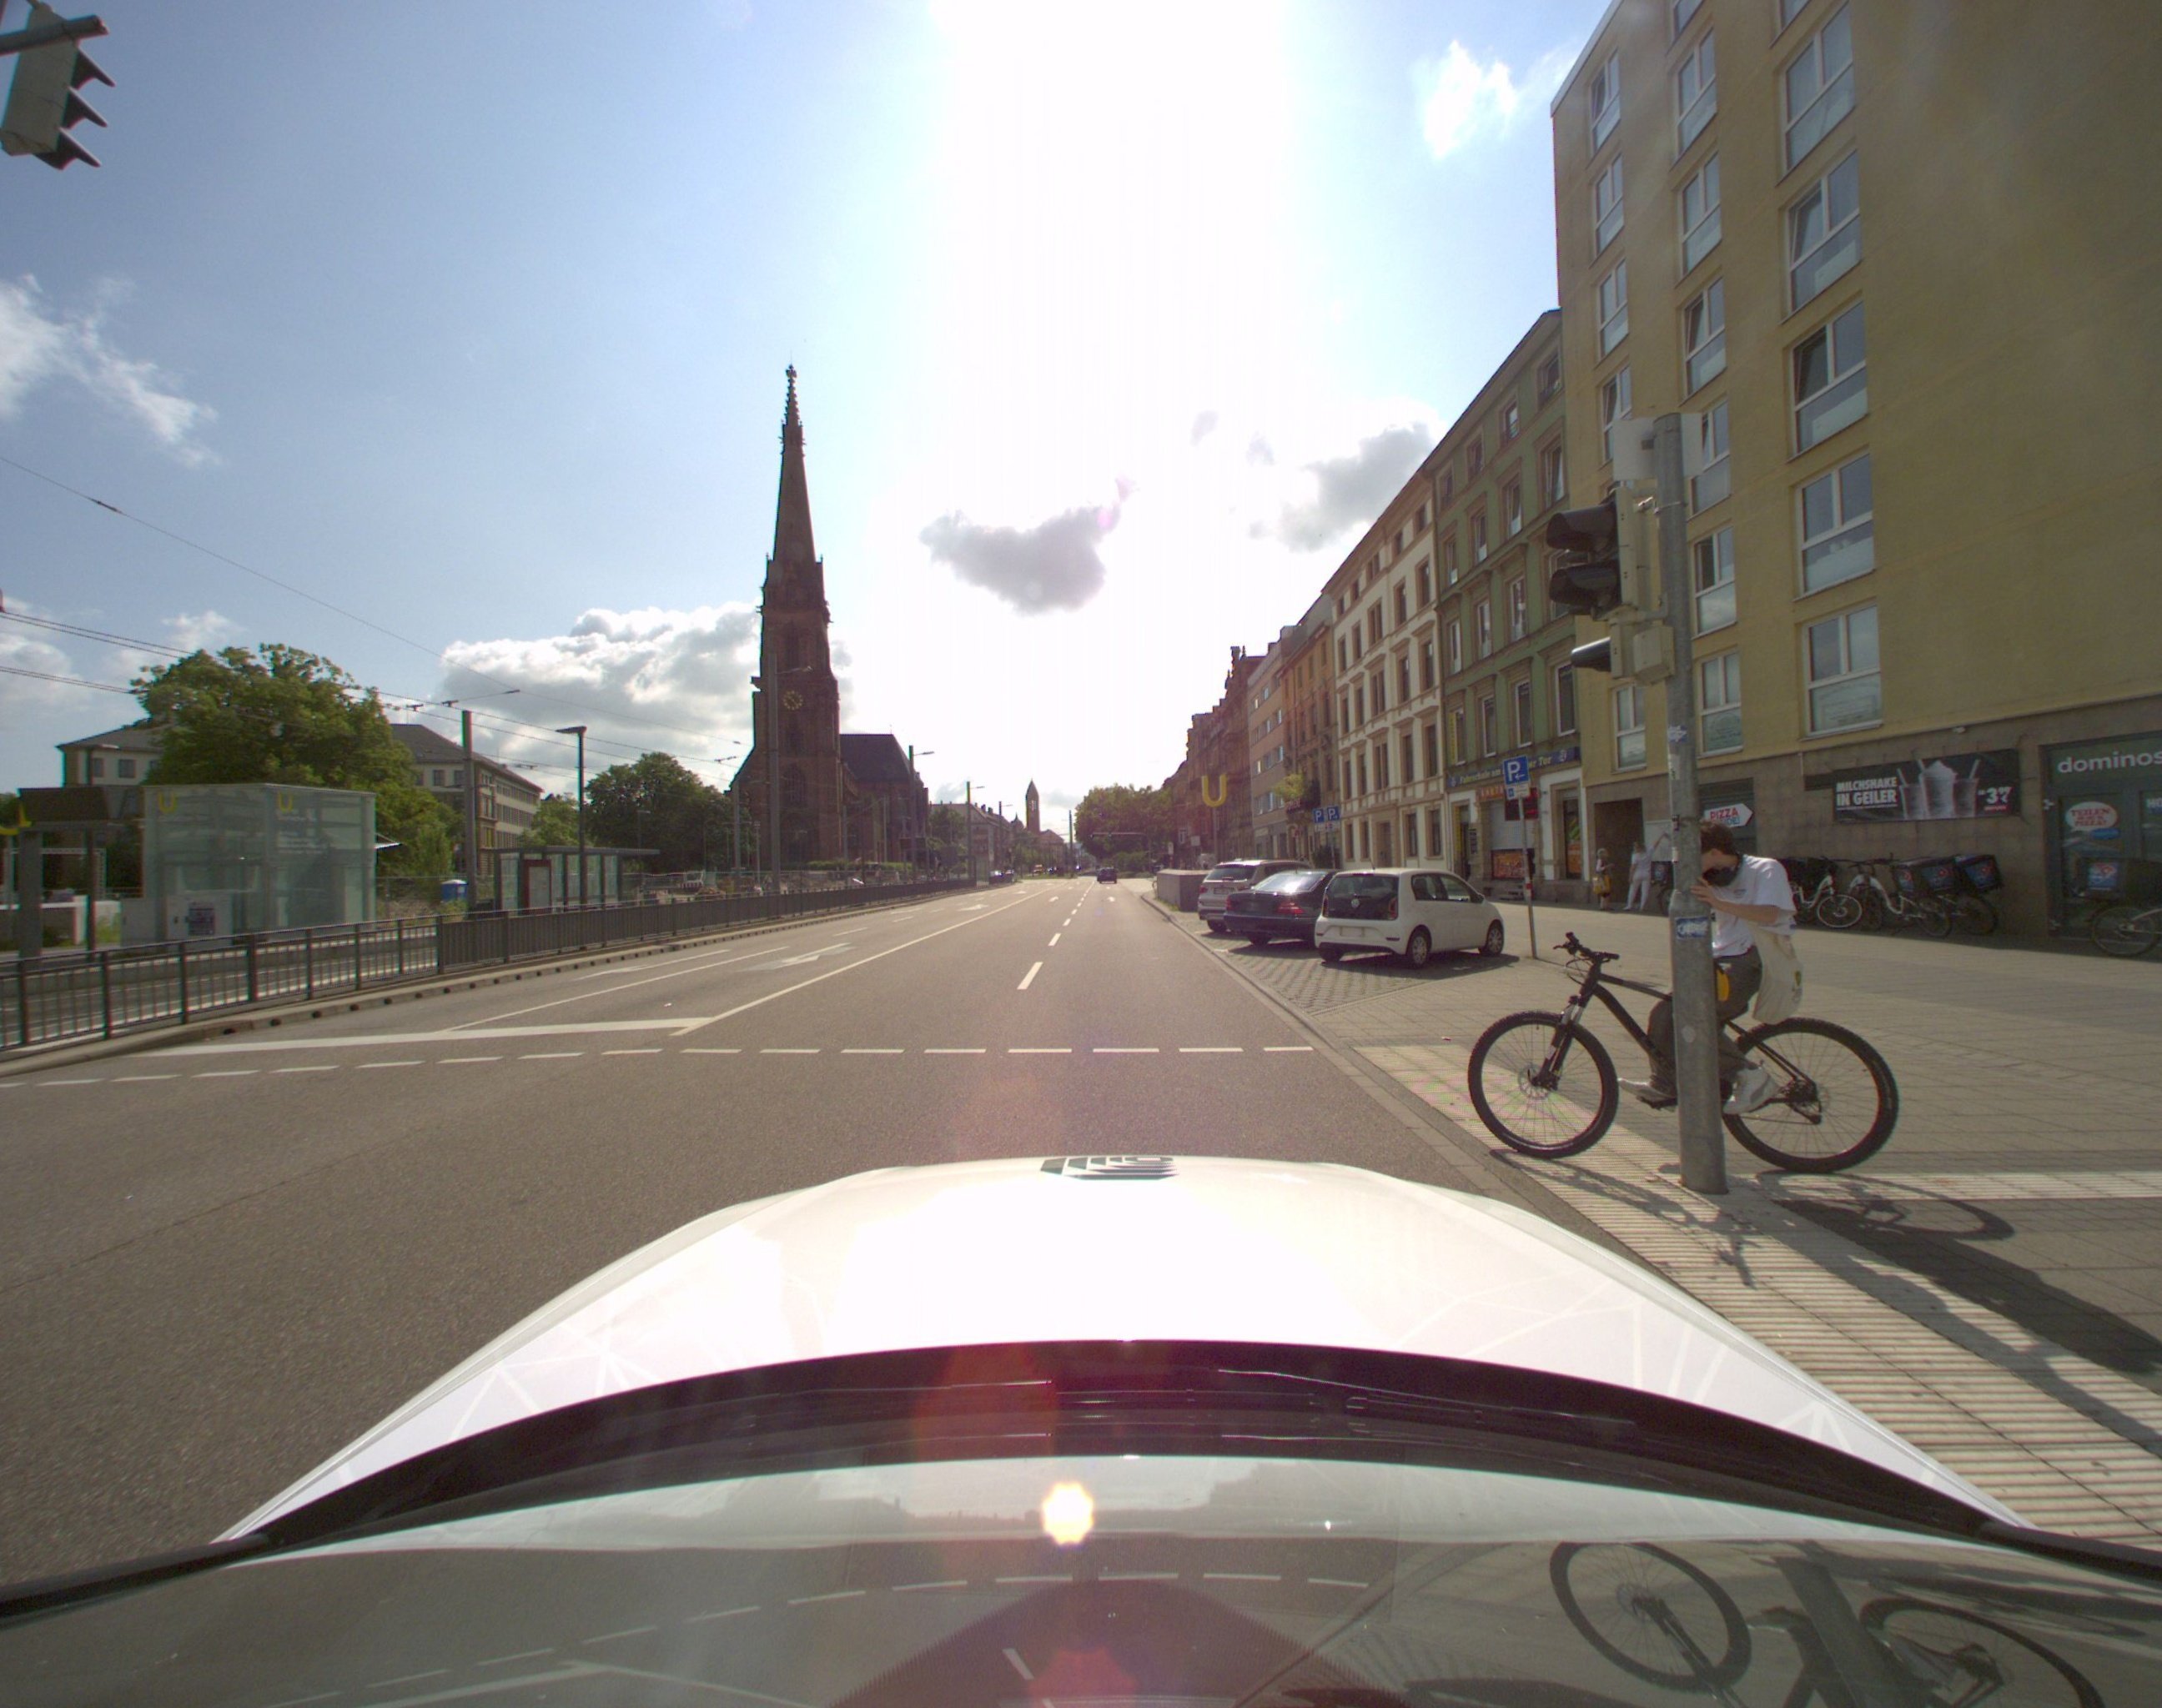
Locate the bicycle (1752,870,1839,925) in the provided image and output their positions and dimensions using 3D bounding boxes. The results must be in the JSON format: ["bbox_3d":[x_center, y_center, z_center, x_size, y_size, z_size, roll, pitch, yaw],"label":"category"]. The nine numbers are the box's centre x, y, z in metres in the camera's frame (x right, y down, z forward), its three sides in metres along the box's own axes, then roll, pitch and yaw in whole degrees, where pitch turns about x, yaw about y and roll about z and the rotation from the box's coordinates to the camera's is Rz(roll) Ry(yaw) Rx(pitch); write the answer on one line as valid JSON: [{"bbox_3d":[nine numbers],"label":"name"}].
[{"bbox_3d":[13.114,0.776,14.990,0.291,0.922,1.464,-2,0,-1],"label":"bicycle"}]

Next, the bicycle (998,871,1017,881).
[{"bbox_3d":[-8.699,2.619,96.729,2.005,1.126,0.934,-2,-1,11],"label":"bicycle"}]

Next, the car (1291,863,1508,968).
[{"bbox_3d":[5.203,0.896,13.171,3.514,1.453,1.758,0,-2,-39],"label":"car"}]

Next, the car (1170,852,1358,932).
[{"bbox_3d":[4.489,0.845,19.629,4.621,1.647,2.037,-1,-2,-41],"label":"car"}]

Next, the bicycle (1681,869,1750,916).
[{"bbox_3d":[13.591,0.807,17.478,0.291,0.922,1.464,-2,0,-1],"label":"bicycle"}]

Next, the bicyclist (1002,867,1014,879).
[{"bbox_3d":[-8.676,2.227,96.776,1.082,1.436,0.827,-2,-1,11],"label":"bicyclist"}]

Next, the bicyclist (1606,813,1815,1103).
[{"bbox_3d":[3.126,0.478,4.102,0.774,1.336,0.397,-1,1,30],"label":"bicyclist"}]

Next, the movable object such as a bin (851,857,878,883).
[{"bbox_3d":[-28.241,2.087,106.482,1.984,3.105,4.007,-2,1,6],"label":"movable object such as a bin"}]

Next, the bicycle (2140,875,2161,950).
[{"bbox_3d":[13.507,0.714,9.513,0.292,0.922,1.450,-2,-1,-3],"label":"bicycle"}]

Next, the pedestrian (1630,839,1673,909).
[{"bbox_3d":[13.671,0.475,19.529,0.599,1.618,0.460,-5,1,1],"label":"pedestrian"}]

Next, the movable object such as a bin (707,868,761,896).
[{"bbox_3d":[-39.049,3.150,91.694,5.131,2.911,1.996,-2,-1,-6],"label":"movable object such as a bin"}]

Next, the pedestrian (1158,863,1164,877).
[{"bbox_3d":[11.819,2.324,119.699,0.765,2.014,0.715,-2,-1,2],"label":"pedestrian"}]

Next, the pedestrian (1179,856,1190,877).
[{"bbox_3d":[9.597,1.158,75.480,0.664,1.903,0.690,-2,-1,-17],"label":"pedestrian"}]

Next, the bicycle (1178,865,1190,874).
[{"bbox_3d":[15.046,2.311,118.737,1.761,1.268,0.467,-2,1,4],"label":"bicycle"}]

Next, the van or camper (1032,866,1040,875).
[{"bbox_3d":[-13.488,4.937,245.589,2.250,2.738,6.198,-2,-1,-2],"label":"van or camper"}]

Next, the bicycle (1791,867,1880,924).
[{"bbox_3d":[13.673,0.725,14.794,0.291,0.922,1.465,-2,1,2],"label":"bicycle"}]

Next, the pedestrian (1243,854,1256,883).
[{"bbox_3d":[12.436,1.089,60.168,0.718,2.099,0.787,-2,1,2],"label":"pedestrian"}]

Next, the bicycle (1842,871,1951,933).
[{"bbox_3d":[13.125,0.744,13.159,0.291,0.922,1.465,-2,-1,2],"label":"bicycle"}]

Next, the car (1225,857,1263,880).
[{"bbox_3d":[13.943,1.297,70.001,1.990,1.862,4.745,-2,-2,-4],"label":"car"}]

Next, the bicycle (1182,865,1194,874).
[{"bbox_3d":[15.320,2.213,116.411,1.737,1.268,0.467,-2,1,4],"label":"bicycle"}]

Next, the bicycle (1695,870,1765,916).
[{"bbox_3d":[13.909,0.812,17.483,0.291,0.922,1.464,-2,0,-1],"label":"bicycle"}]

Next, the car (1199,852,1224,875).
[{"bbox_3d":[14.762,1.060,92.300,1.986,2.525,5.890,-2,-1,2],"label":"car"}]

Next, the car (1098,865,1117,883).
[{"bbox_3d":[2.703,2.042,83.723,1.683,1.711,3.608,-2,1,0],"label":"car"}]

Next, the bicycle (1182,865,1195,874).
[{"bbox_3d":[15.339,2.222,115.871,1.761,1.268,0.467,-2,1,4],"label":"bicycle"}]

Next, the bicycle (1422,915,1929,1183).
[{"bbox_3d":[2.980,0.923,4.353,2.073,1.106,0.548,-1,1,28],"label":"bicycle"}]

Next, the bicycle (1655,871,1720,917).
[{"bbox_3d":[13.143,0.849,17.684,0.291,0.922,1.464,-2,0,-1],"label":"bicycle"}]

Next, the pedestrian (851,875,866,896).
[{"bbox_3d":[-21.751,3.045,79.670,1.061,2.014,1.052,-2,-1,5],"label":"pedestrian"}]

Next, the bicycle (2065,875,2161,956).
[{"bbox_3d":[12.929,0.738,9.700,0.292,0.922,1.607,-2,0,-8],"label":"bicycle"}]

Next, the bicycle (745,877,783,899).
[{"bbox_3d":[-22.249,2.392,57.316,1.189,1.427,3.692,-2,-1,0],"label":"bicycle"}]

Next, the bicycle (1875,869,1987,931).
[{"bbox_3d":[13.646,0.715,13.120,0.291,0.922,1.465,-2,-1,2],"label":"bicycle"}]

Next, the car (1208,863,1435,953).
[{"bbox_3d":[4.784,0.946,15.880,4.622,1.460,1.917,0,-1,-39],"label":"car"}]

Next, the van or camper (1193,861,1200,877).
[{"bbox_3d":[15.105,1.999,106.564,0.663,2.014,0.638,-2,-1,1],"label":"van or camper"}]

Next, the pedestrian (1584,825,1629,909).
[{"bbox_3d":[13.022,0.309,20.201,0.599,2.013,0.460,-7,1,1],"label":"pedestrian"}]

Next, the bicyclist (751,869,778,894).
[{"bbox_3d":[-22.258,1.913,57.318,1.174,1.684,1.684,-2,-1,0],"label":"bicyclist"}]

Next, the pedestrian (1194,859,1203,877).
[{"bbox_3d":[12.381,1.445,85.878,0.662,1.837,0.693,-2,-1,-5],"label":"pedestrian"}]

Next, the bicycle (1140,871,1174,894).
[{"bbox_3d":[4.395,1.639,47.182,1.925,1.237,0.439,-2,1,-12],"label":"bicycle"}]

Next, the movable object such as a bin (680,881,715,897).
[{"bbox_3d":[-39.101,3.575,83.239,1.995,1.502,5.134,-2,-1,-11],"label":"movable object such as a bin"}]
